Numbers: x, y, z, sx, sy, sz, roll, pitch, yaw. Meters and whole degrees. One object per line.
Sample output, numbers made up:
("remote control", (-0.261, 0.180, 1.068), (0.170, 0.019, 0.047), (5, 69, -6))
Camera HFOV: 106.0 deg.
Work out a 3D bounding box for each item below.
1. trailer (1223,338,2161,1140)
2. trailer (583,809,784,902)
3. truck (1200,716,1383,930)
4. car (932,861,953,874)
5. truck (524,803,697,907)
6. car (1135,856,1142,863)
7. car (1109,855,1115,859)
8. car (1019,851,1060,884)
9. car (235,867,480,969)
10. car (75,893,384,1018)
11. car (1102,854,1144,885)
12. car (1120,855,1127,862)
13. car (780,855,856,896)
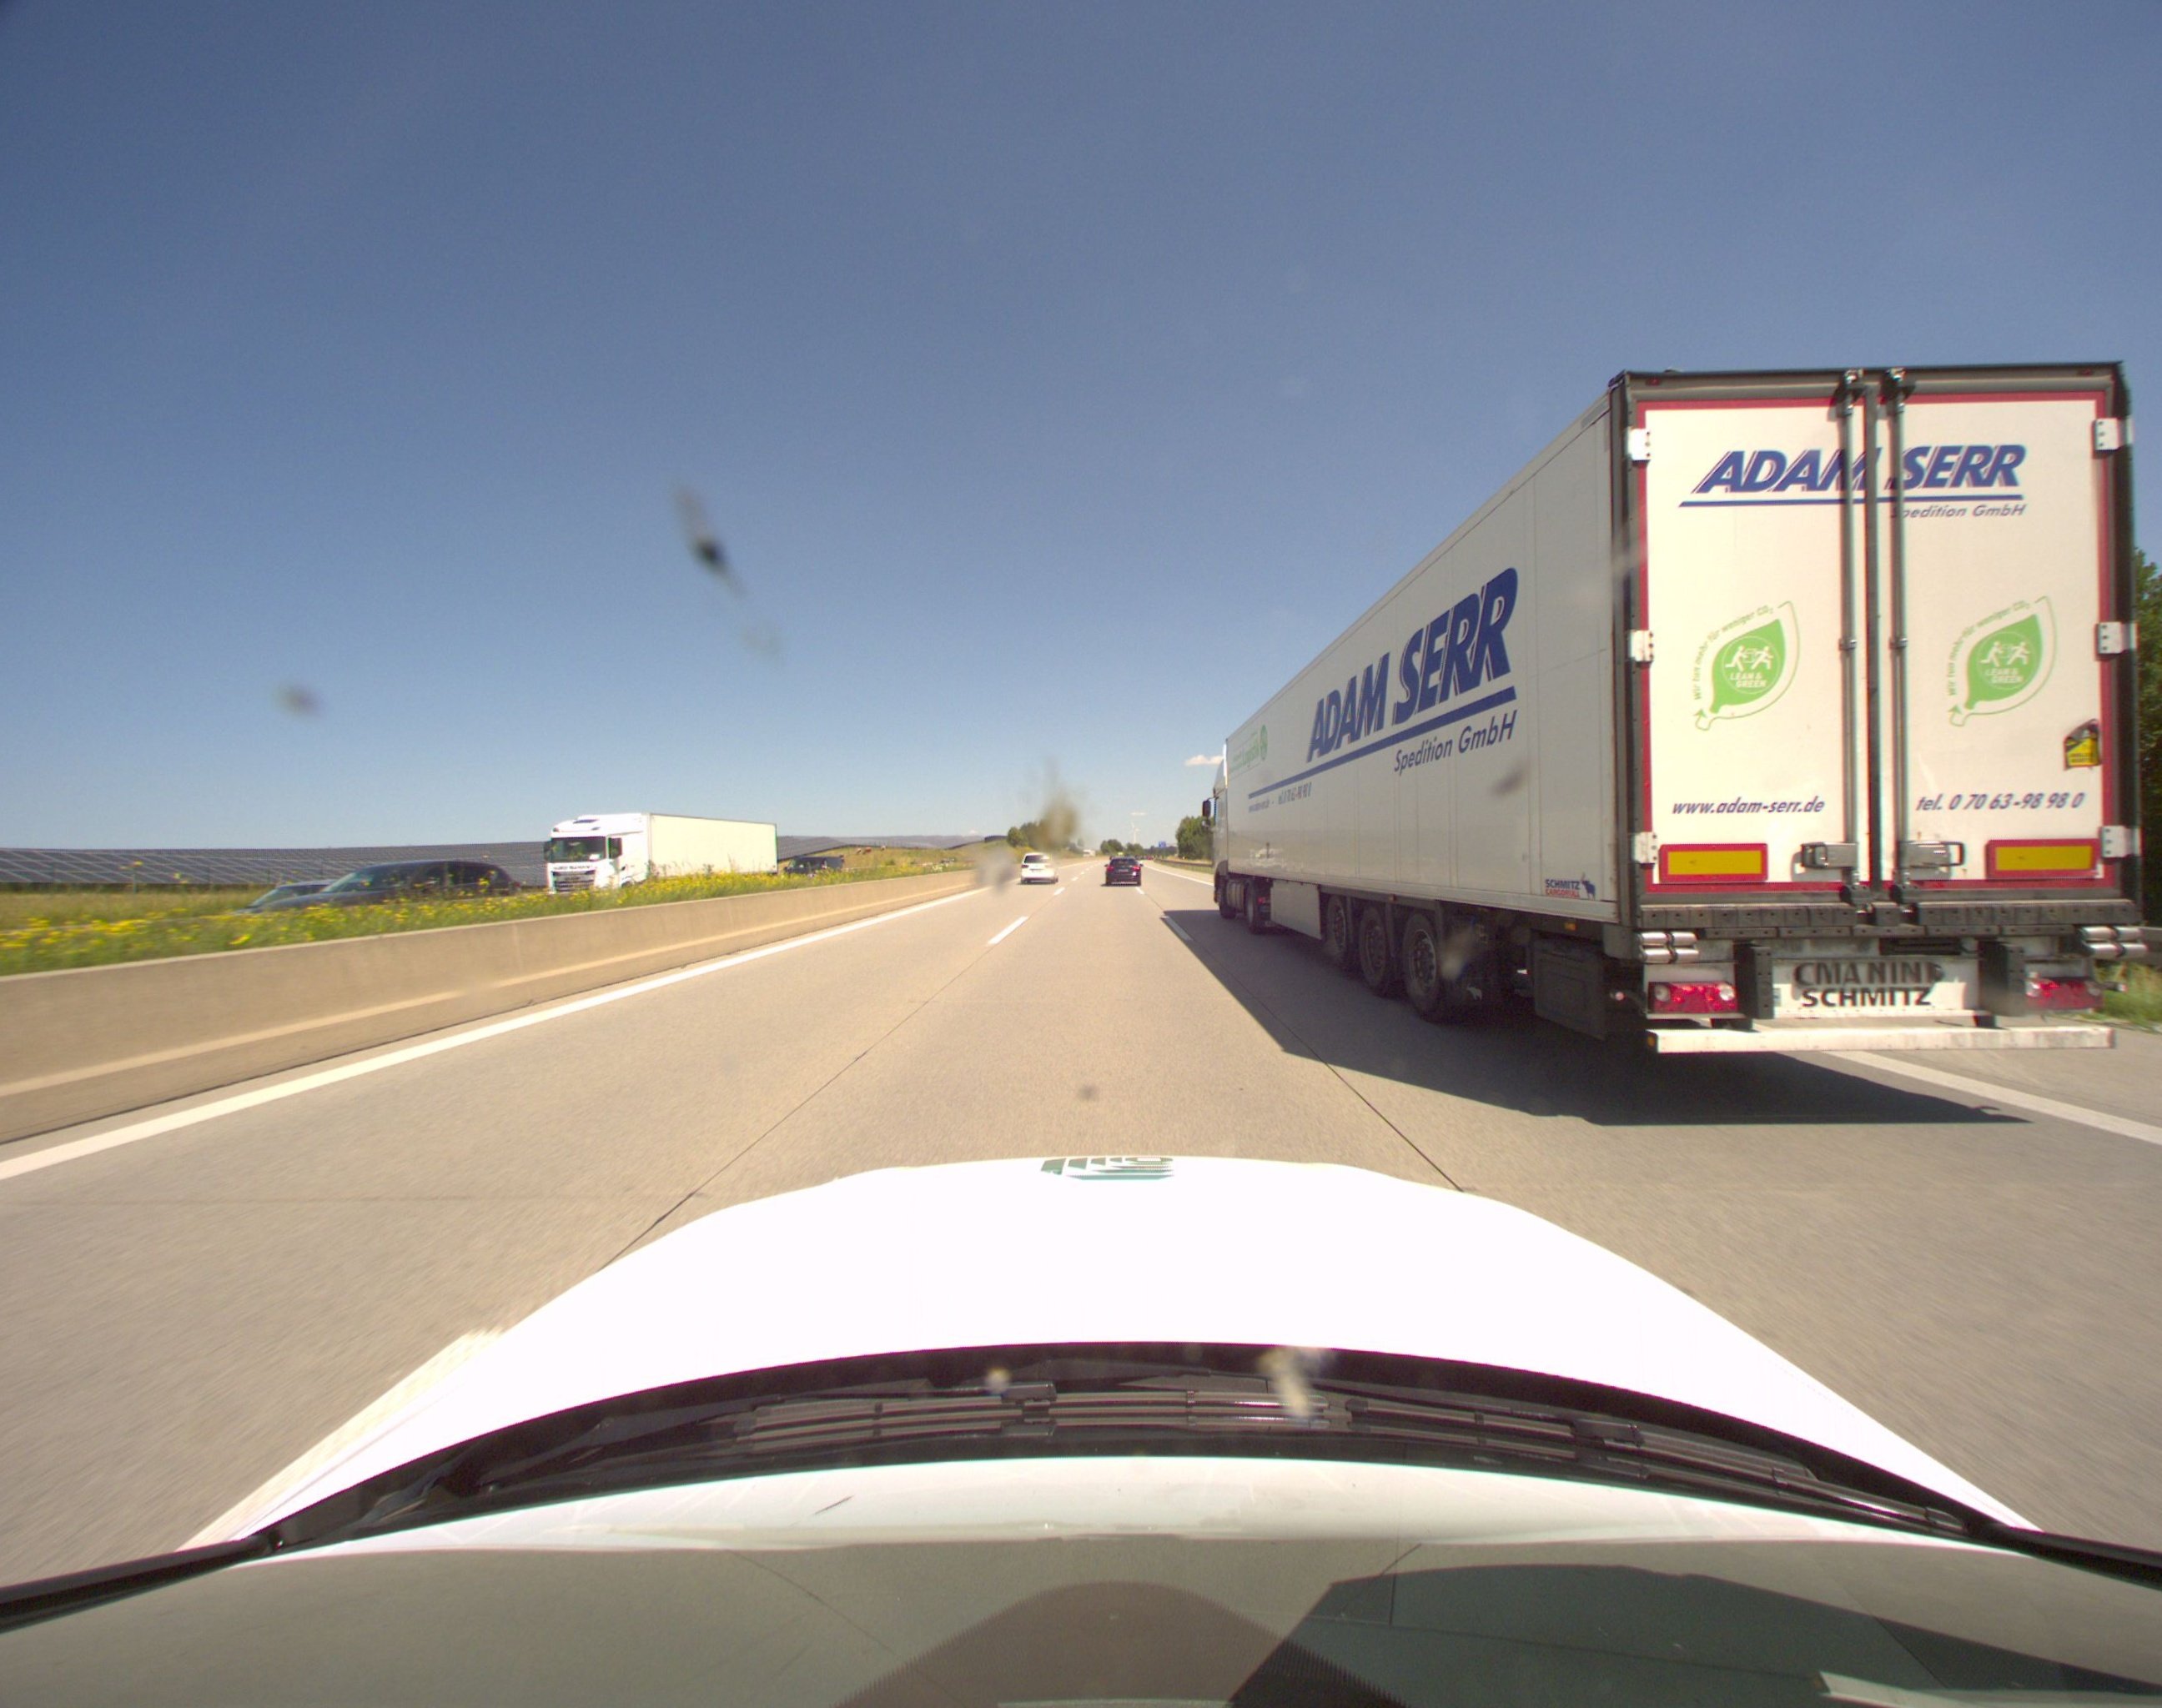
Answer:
("trailer", (4.227, -0.572, 10.476), (2.842, 4.042, 12.716), (0, 0, 1))
("trailer", (-19.687, 0.116, 42.136), (3.079, 4.004, 14.145), (0, -1, 2))
("truck", (4.468, -0.589, 18.550), (2.801, 4.088, 5.800), (0, 0, 2))
("car", (-16.753, 1.584, 98.695), (1.643, 1.552, 3.970), (1, 0, 2))
("truck", (-19.905, 0.054, 35.118), (3.079, 4.004, 7.257), (0, -1, 2))
("car", (14.954, 1.381, 212.107), (1.818, 1.907, 4.006), (-1, 0, 6))
("car", (9.177, 0.963, 238.453), (1.649, 1.196, 3.961), (2, 0, 2))
("car", (-2.244, 0.717, 45.590), (1.838, 1.708, 6.038), (0, -1, 2))
("car", (-12.559, 1.031, 14.411), (1.319, 1.532, 3.254), (1, 0, 2))
("car", (-16.076, 1.812, 15.740), (1.737, 1.943, 3.942), (0, -1, 2))
("car", (2.078, 0.758, 41.303), (1.904, 1.492, 4.190), (0, 0, -1))
("car", (12.238, 1.217, 233.280), (1.819, 1.937, 3.812), (-1, 0, 3))
("car", (-13.266, 1.036, 41.435), (2.064, 1.971, 5.033), (1, 0, 2))
